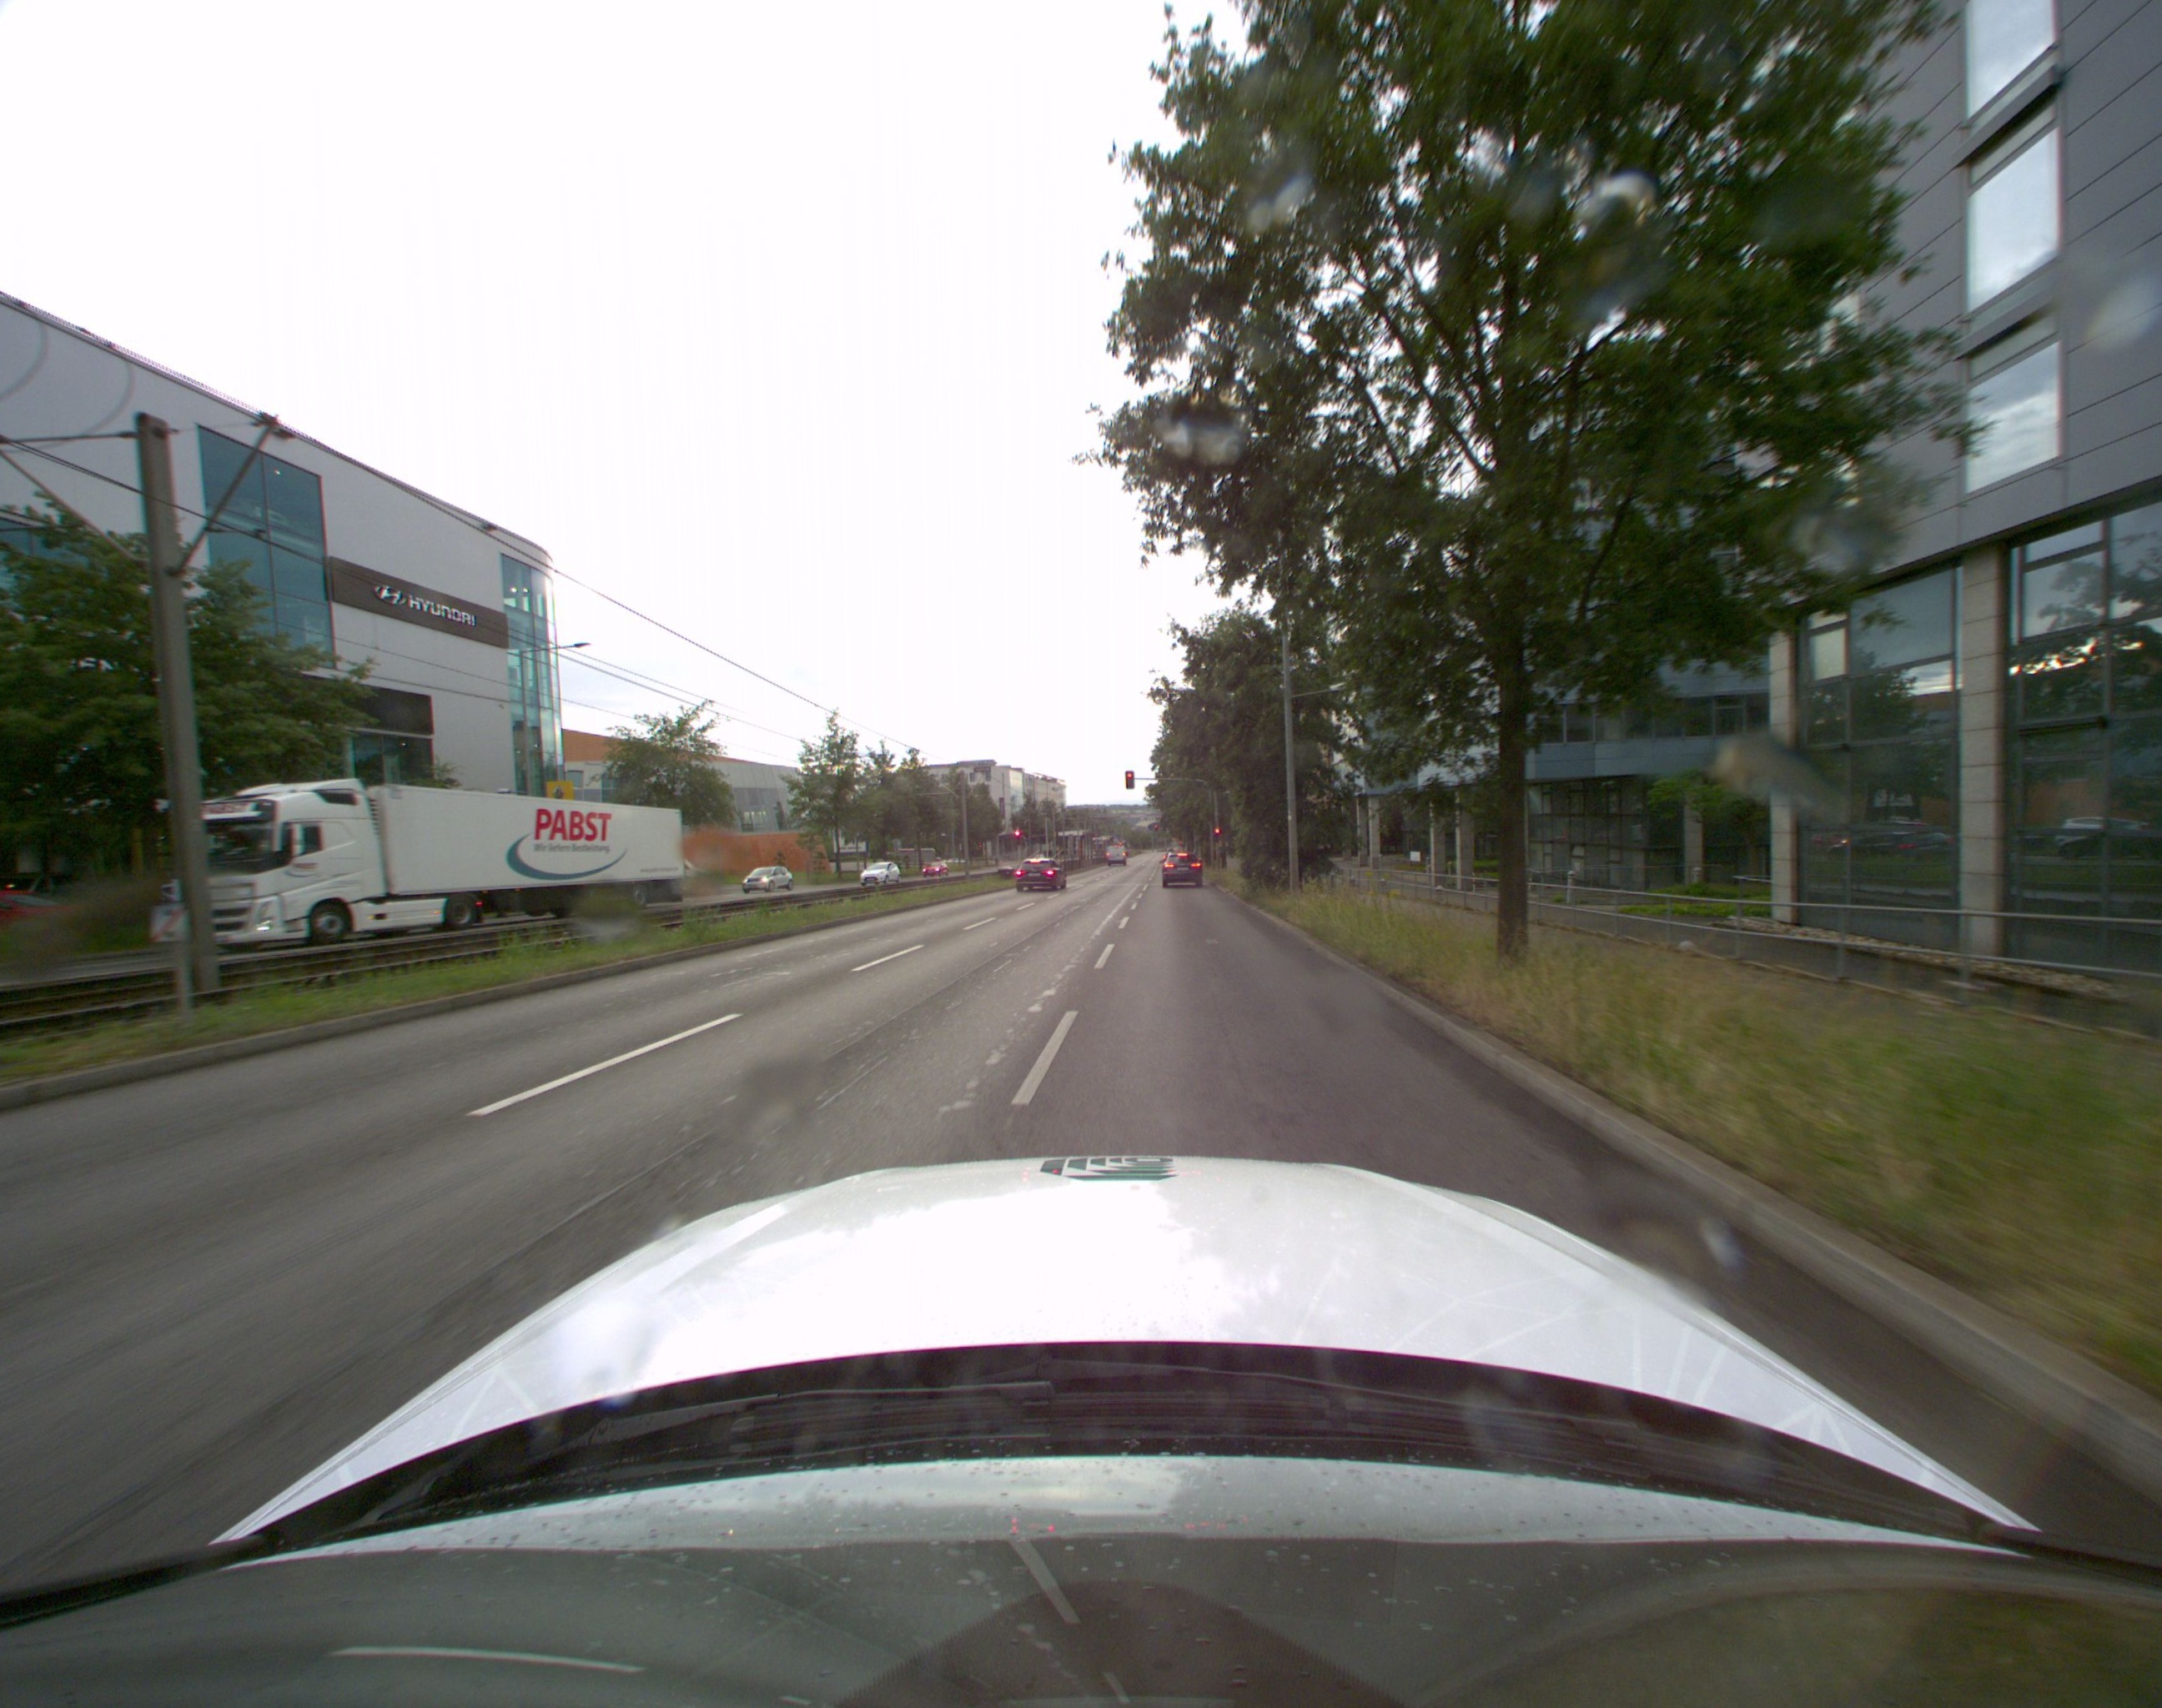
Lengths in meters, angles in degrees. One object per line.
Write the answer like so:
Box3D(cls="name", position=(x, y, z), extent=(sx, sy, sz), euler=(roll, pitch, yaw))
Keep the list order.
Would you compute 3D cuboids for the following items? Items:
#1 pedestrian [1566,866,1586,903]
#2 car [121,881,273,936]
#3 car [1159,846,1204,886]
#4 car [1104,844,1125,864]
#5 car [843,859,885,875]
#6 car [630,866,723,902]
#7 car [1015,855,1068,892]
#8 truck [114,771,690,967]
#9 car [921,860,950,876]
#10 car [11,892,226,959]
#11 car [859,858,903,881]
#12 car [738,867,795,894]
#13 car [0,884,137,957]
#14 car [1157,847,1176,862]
Box3D(cls="pedestrian", position=(18.866, 1.154, 31.056), extent=(0.500, 1.408, 0.458), euler=(-1, -1, 6))
Box3D(cls="car", position=(-32.084, 1.953, 29.651), extent=(3.328, 1.745, 1.664), euler=(-2, 0, -11))
Box3D(cls="car", position=(4.721, 0.540, 38.806), extent=(1.914, 1.710, 4.103), euler=(-1, 2, 4))
Box3D(cls="car", position=(3.895, -0.023, 94.958), extent=(2.260, 2.284, 4.760), euler=(-1, 1, 0))
Box3D(cls="car", position=(-25.638, 1.557, 96.373), extent=(4.305, 1.809, 2.100), euler=(-1, 1, 2))
Box3D(cls="car", position=(-29.245, 2.124, 59.153), extent=(5.646, 2.432, 2.257), euler=(-1, 0, -14))
Box3D(cls="car", position=(-1.698, 0.811, 36.772), extent=(1.778, 1.413, 4.812), euler=(-1, 1, 4))
Box3D(cls="truck", position=(-18.761, 0.172, 26.138), extent=(3.028, 4.180, 17.222), euler=(-1, 1, 4))
Box3D(cls="car", position=(-13.762, 1.337, 77.243), extent=(1.654, 1.442, 3.904), euler=(-1, 0, 7))
Box3D(cls="car", position=(-31.923, 2.322, 27.163), extent=(4.345, 1.864, 1.877), euler=(-2, 0, -11))
Box3D(cls="car", position=(-13.069, 0.974, 53.451), extent=(1.655, 1.442, 3.900), euler=(-1, 0, 3))
Box3D(cls="car", position=(-19.644, 1.620, 51.071), extent=(1.654, 1.544, 3.904), euler=(-1, 0, 7))
Box3D(cls="car", position=(-32.185, 2.023, 24.450), extent=(4.610, 1.976, 2.009), euler=(-2, 0, -16))
Box3D(cls="car", position=(10.896, 0.012, 103.426), extent=(2.036, 1.742, 4.587), euler=(-1, 1, 9))
